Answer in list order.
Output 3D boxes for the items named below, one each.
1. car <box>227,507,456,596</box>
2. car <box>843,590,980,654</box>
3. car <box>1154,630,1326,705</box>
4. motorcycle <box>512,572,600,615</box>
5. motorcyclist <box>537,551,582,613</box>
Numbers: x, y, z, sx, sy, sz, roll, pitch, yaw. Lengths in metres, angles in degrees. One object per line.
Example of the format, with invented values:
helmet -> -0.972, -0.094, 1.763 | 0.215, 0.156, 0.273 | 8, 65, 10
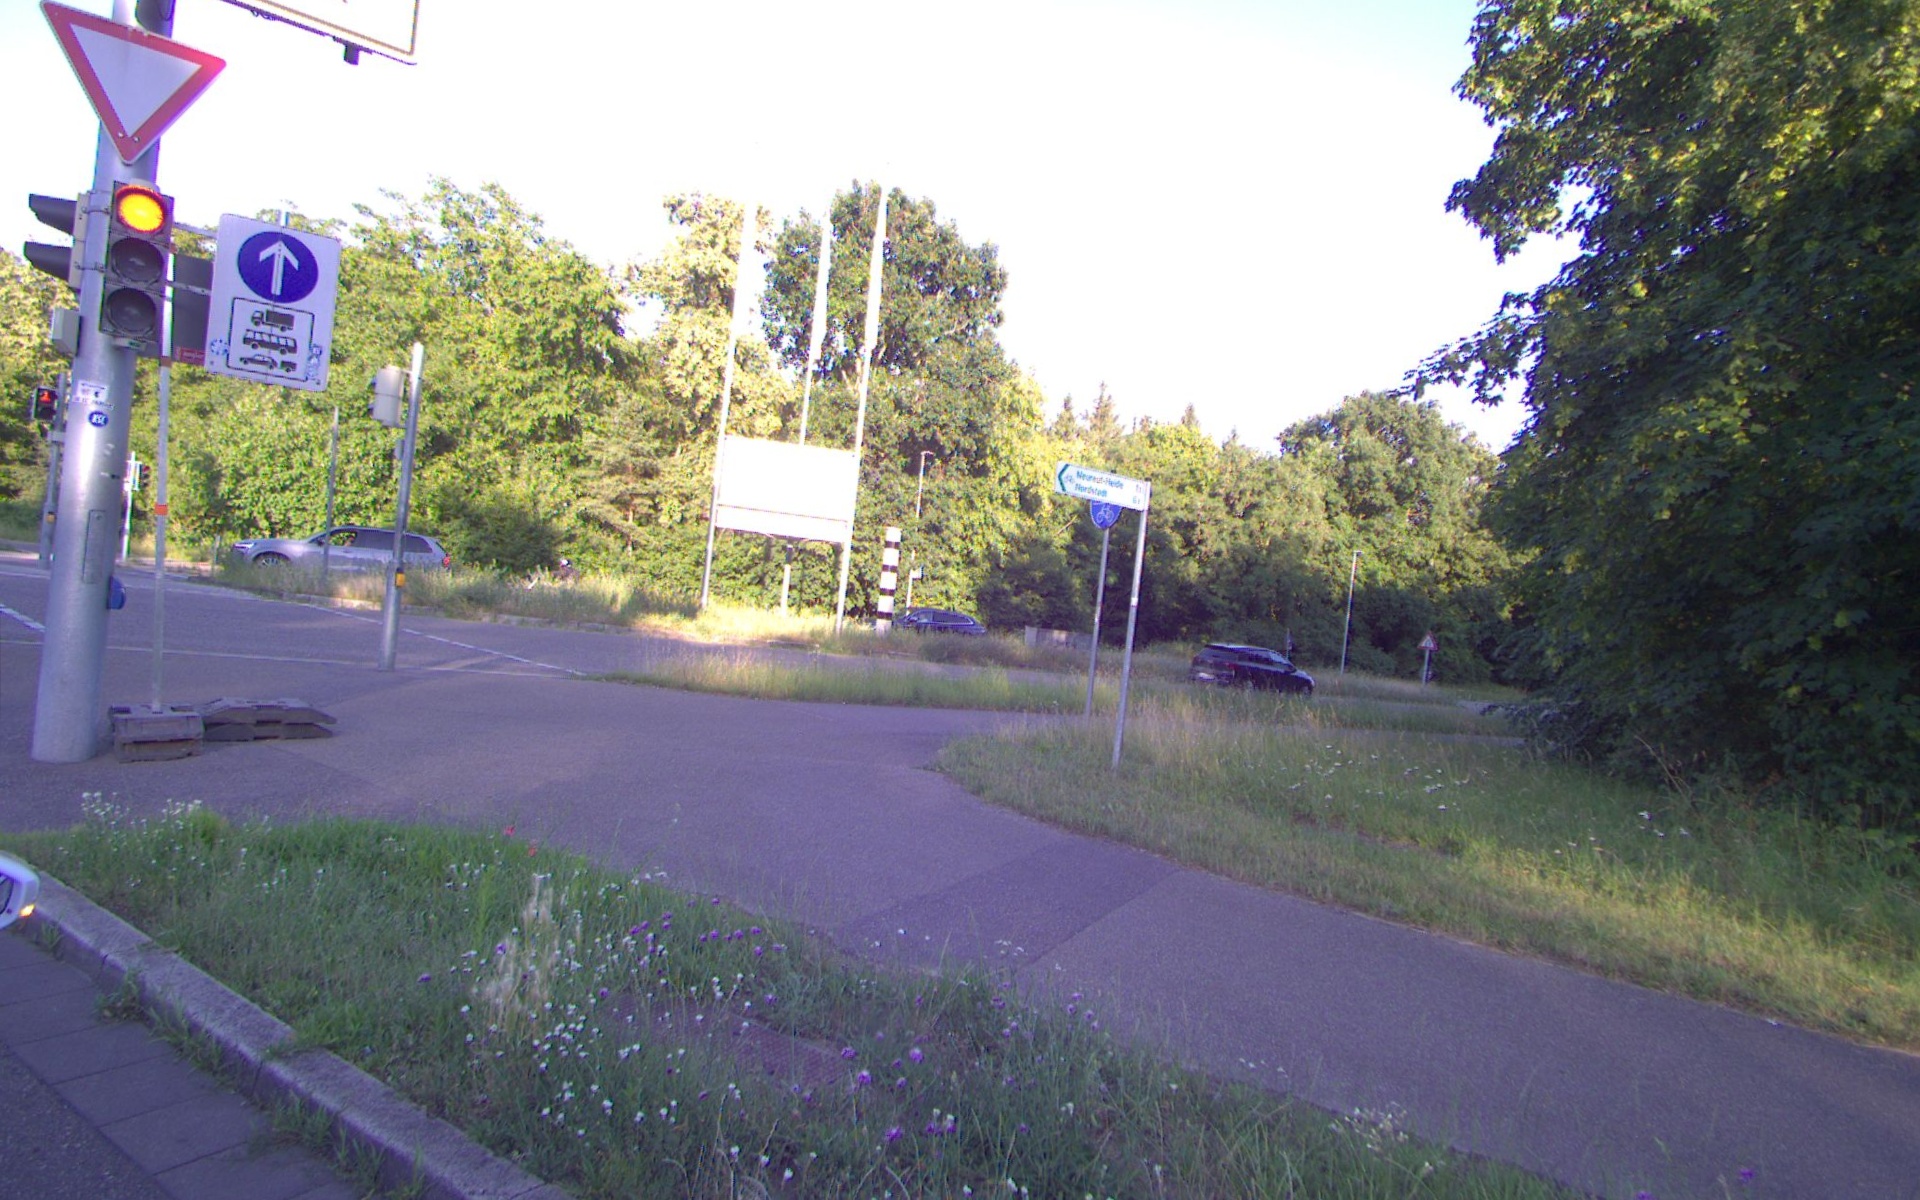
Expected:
car -> -15.916, -1.210, 25.996 | 4.790, 1.618, 1.980 | 7, 0, -37
car -> -1.496, 0.706, 31.556 | 3.840, 1.507, 1.754 | 7, -1, -36
car -> 7.850, 1.895, 28.059 | 4.634, 1.548, 1.982 | 7, -1, -34
motorcycle -> -11.288, -0.175, 28.144 | 2.133, 0.921, 0.655 | 7, 0, -37
motorcyclist -> -11.207, -0.512, 28.167 | 0.881, 1.614, 0.648 | 6, 0, -37
